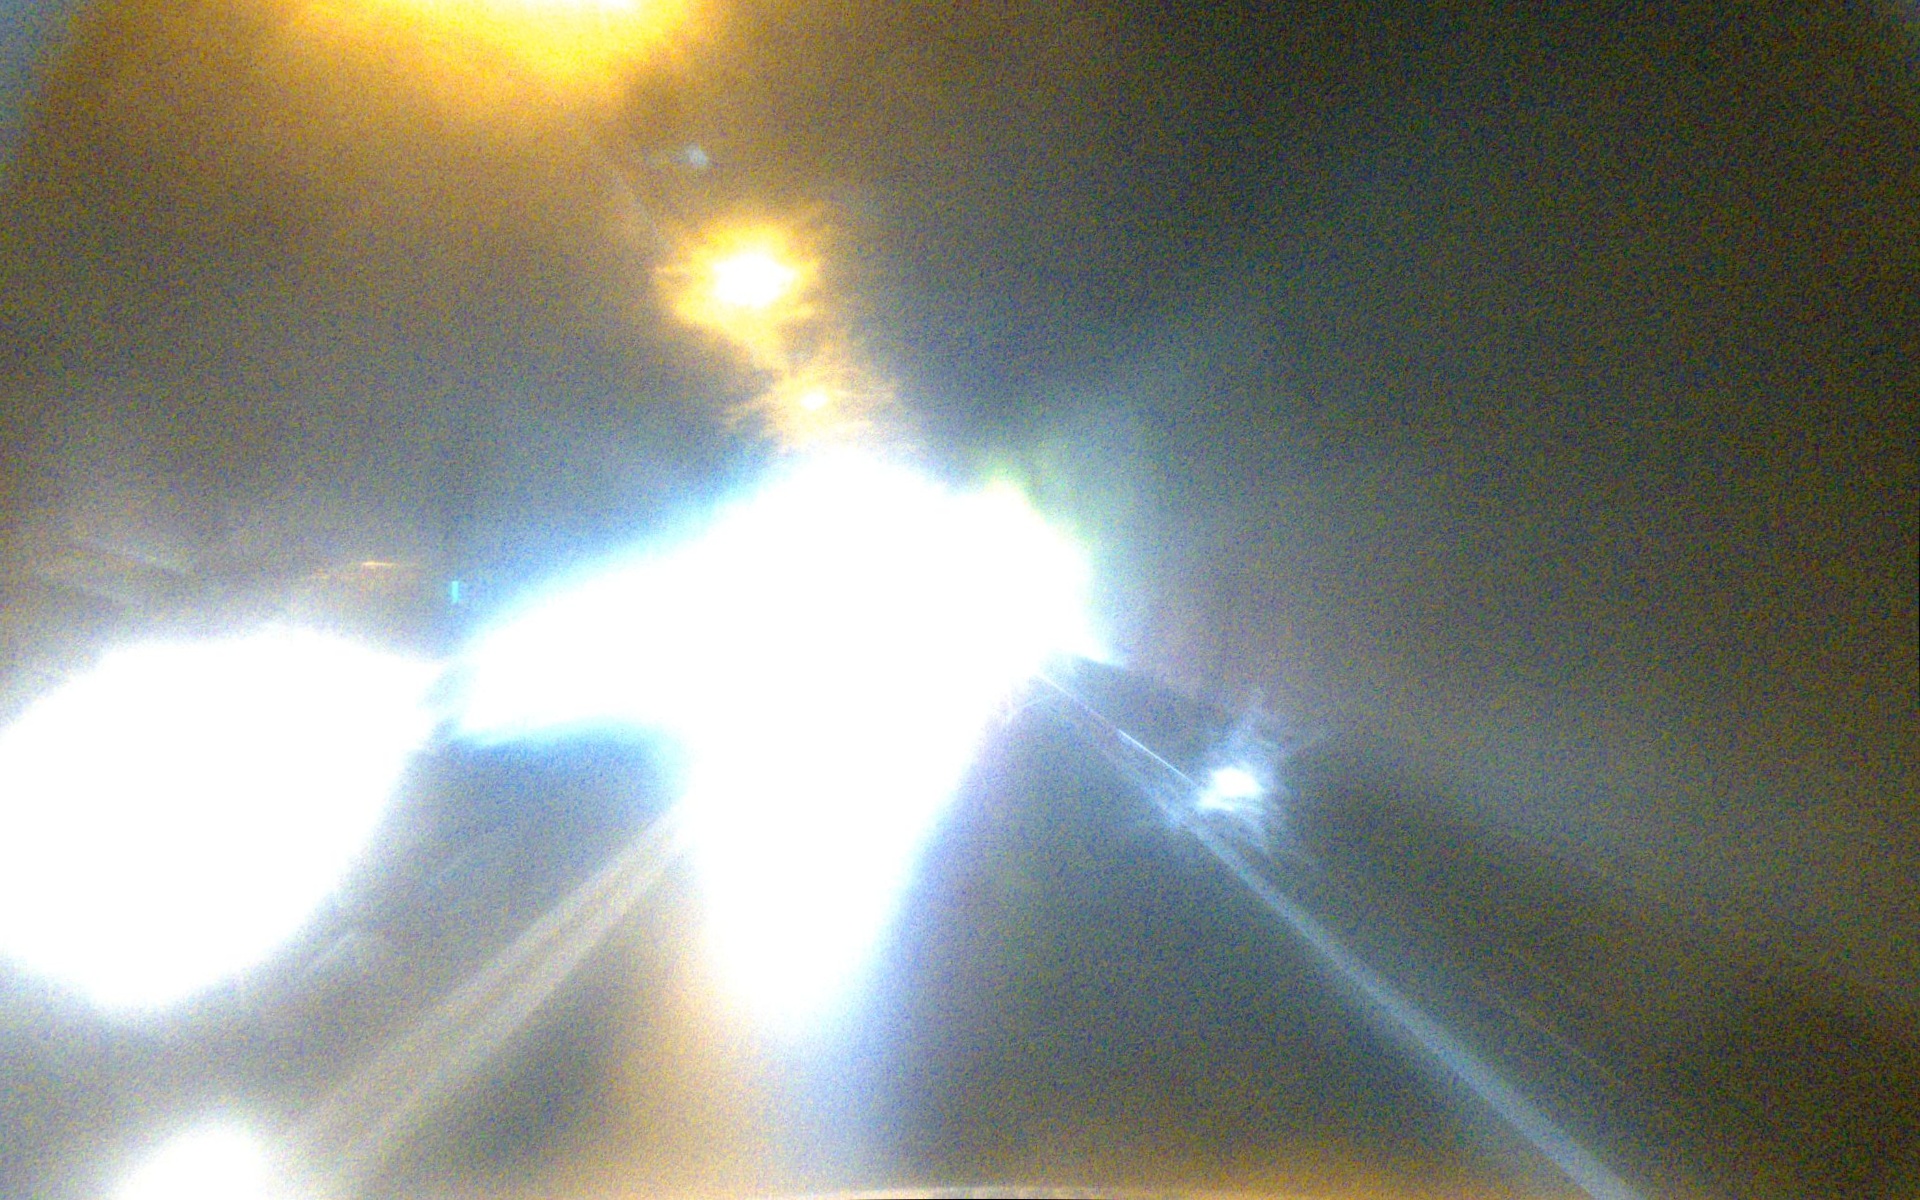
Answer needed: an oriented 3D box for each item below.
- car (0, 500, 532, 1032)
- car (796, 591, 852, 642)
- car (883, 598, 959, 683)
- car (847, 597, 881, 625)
[{"bbox_3d":[-3.350,0.541,7.480,1.876,1.758,3.998,1,0,-2],"label":"car"},{"bbox_3d":[-4.729,0.547,57.797,1.663,1.705,4.126,1,0,-1],"label":"car"},{"bbox_3d":[-0.881,0.871,37.540,1.602,1.788,4.145,1,0,-1],"label":"car"},{"bbox_3d":[-5.321,0.604,92.104,1.713,1.506,4.475,1,0,-1],"label":"car"}]
